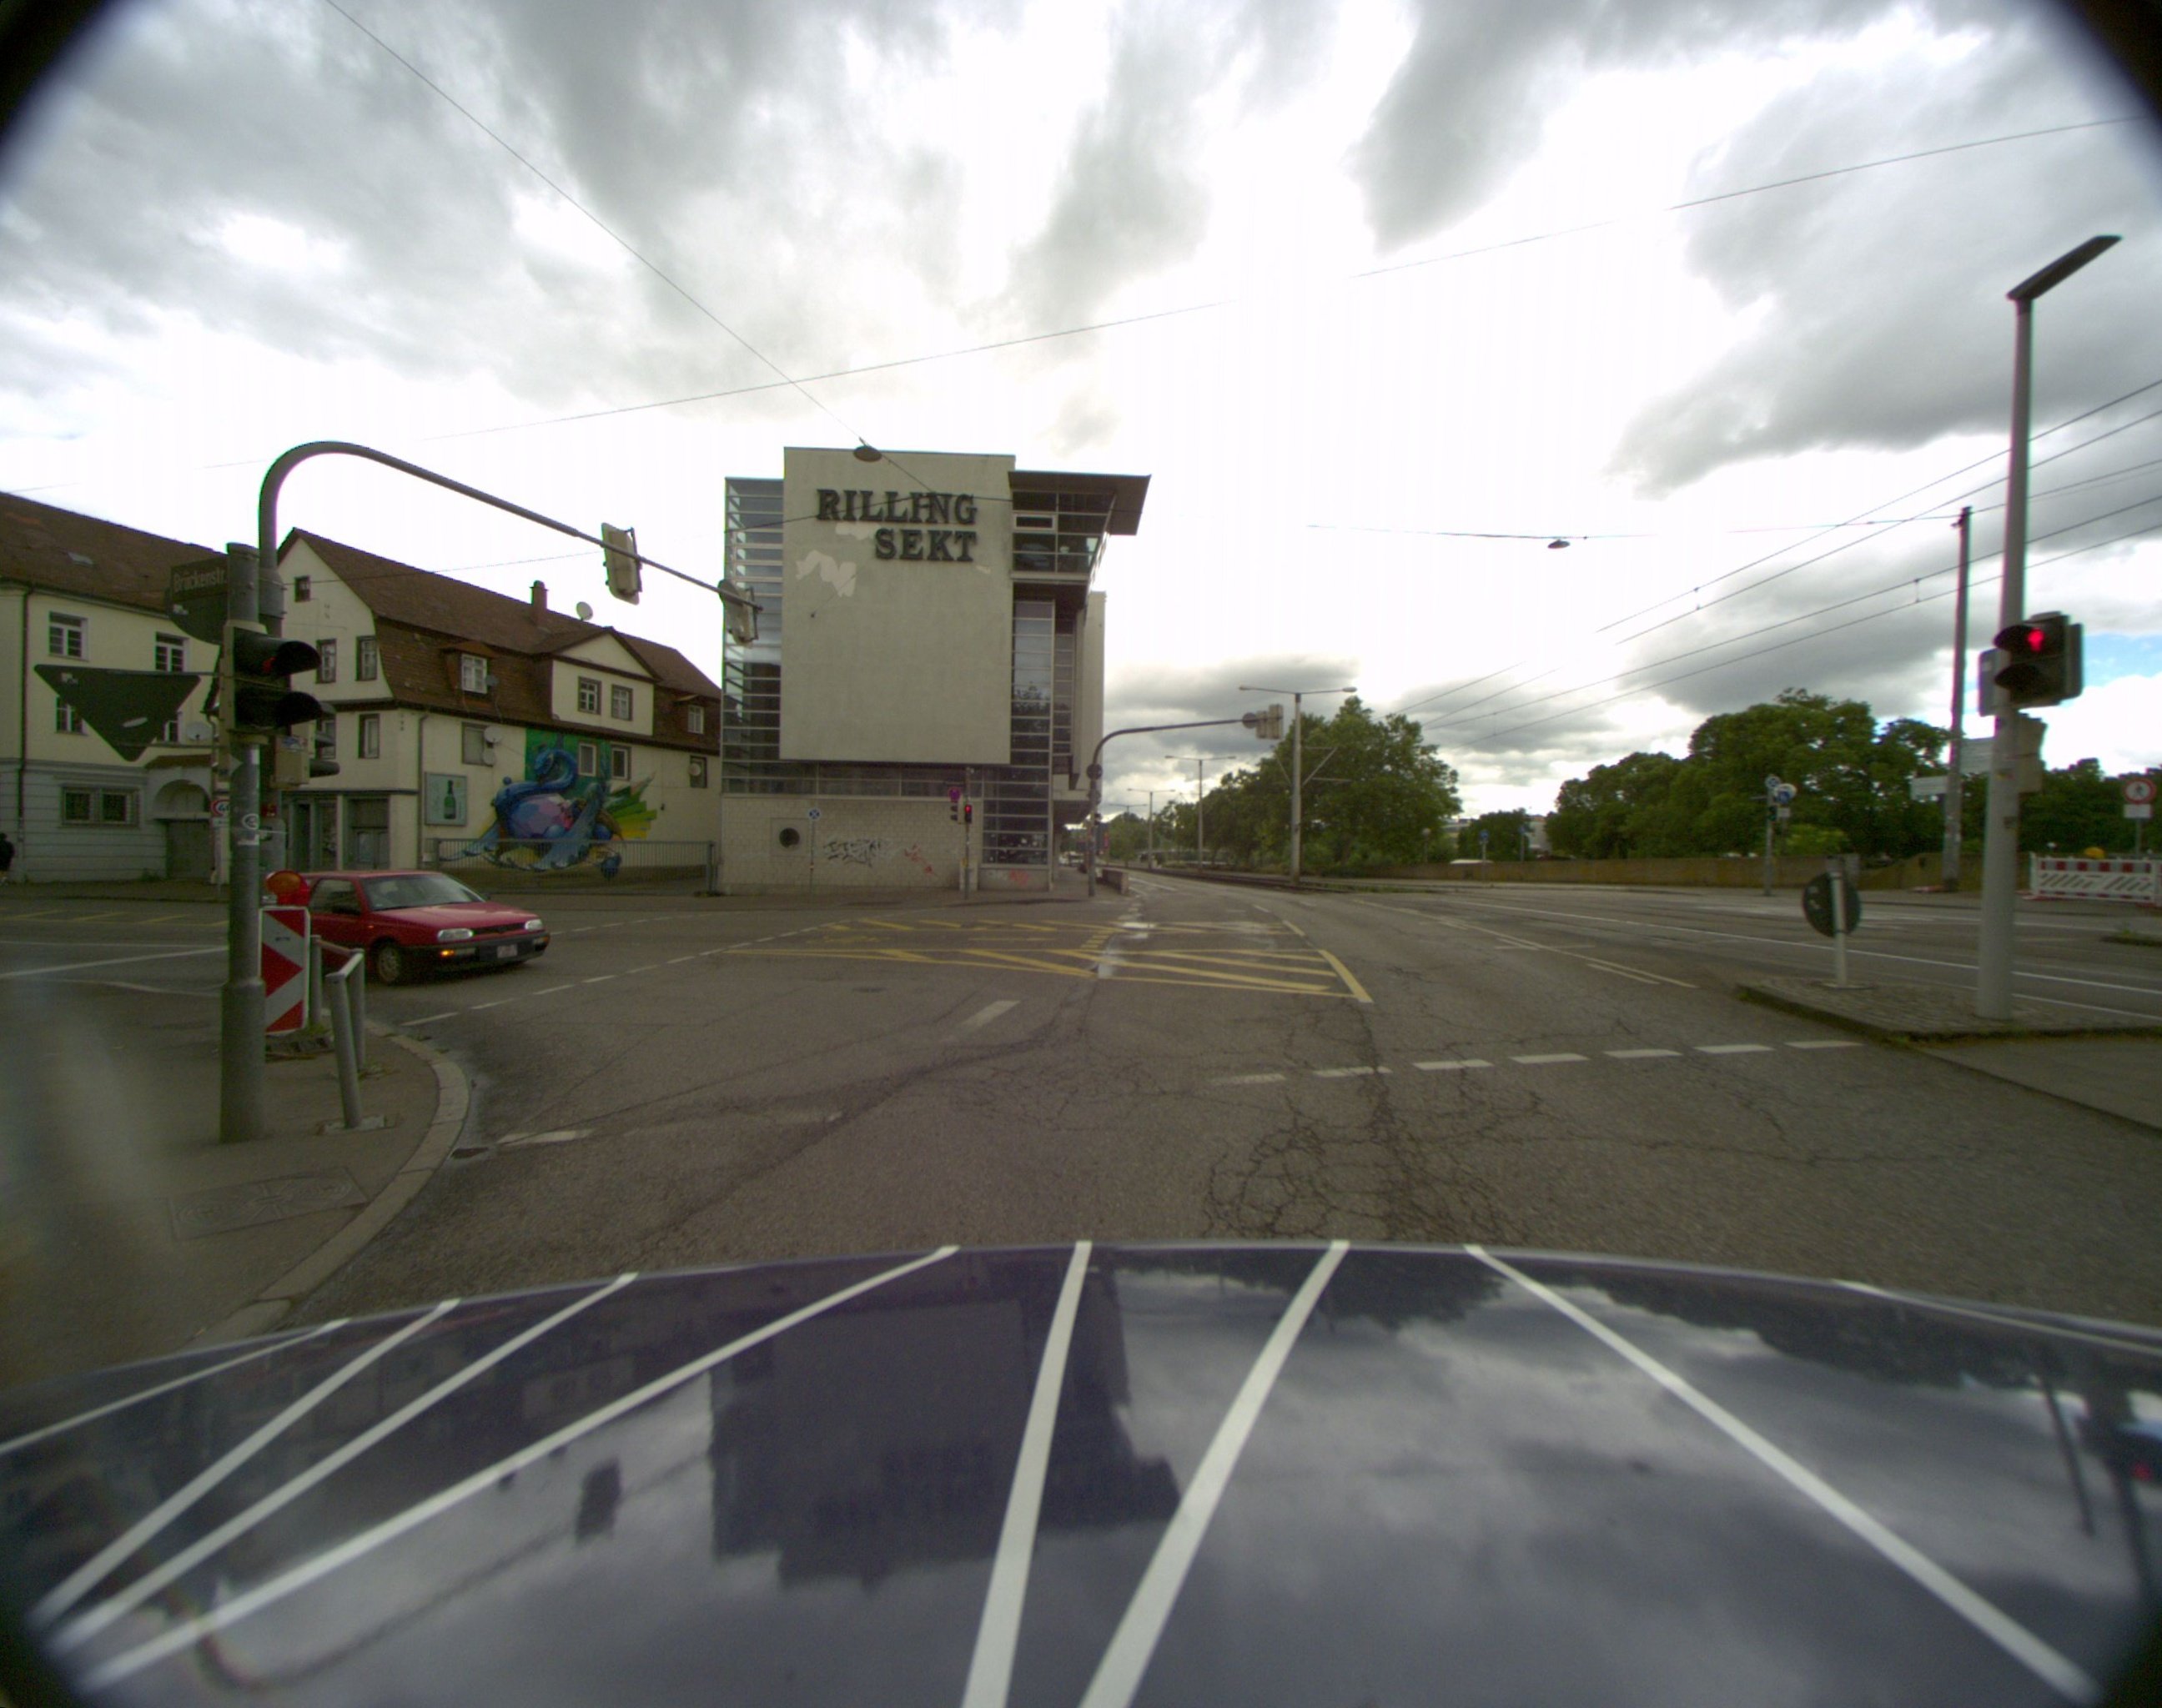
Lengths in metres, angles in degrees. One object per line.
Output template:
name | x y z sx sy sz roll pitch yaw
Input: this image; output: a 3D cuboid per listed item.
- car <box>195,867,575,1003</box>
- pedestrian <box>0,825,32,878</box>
car | -9.426 1.002 10.421 3.993 1.459 1.806 1 3 12
pedestrian | -38.269 -0.089 26.841 1.089 1.875 1.059 0 2 15
